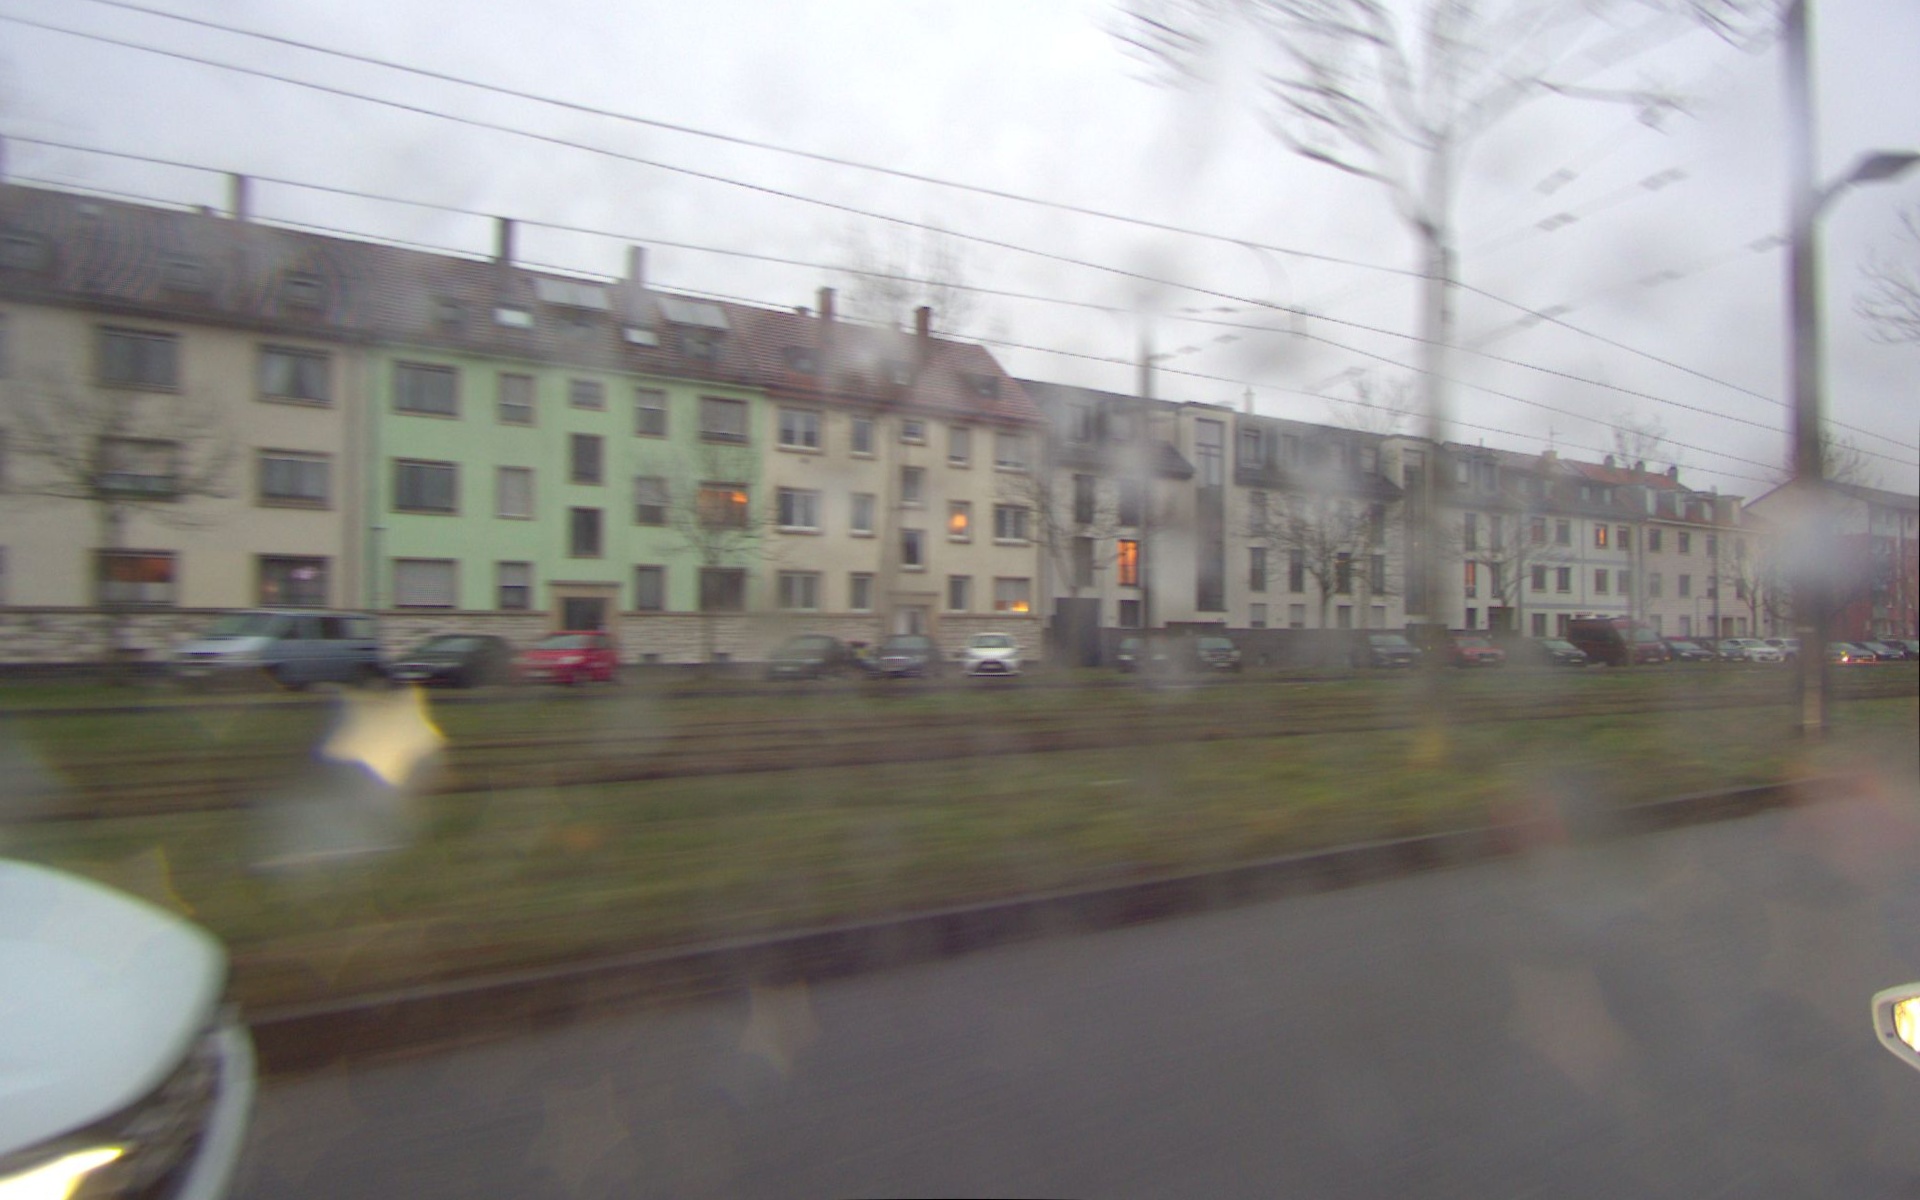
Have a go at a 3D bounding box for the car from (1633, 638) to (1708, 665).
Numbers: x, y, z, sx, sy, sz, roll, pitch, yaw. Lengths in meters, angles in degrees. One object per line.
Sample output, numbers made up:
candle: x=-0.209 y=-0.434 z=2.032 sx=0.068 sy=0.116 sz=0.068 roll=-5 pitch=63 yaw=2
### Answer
car: x=39.079 y=2.815 z=55.333 sx=1.713 sy=1.228 sz=3.541 roll=1 pitch=0 yaw=2

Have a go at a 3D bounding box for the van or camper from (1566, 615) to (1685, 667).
van or camper: x=34.256 y=2.042 z=52.038 sx=1.960 sy=2.391 sz=6.884 roll=1 pitch=0 yaw=4

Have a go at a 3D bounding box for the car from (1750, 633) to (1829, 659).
car: x=50.702 y=2.779 z=61.491 sx=1.737 sy=1.397 sz=4.126 roll=1 pitch=0 yaw=7

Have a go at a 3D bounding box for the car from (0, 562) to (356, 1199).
car: x=-2.871 y=0.668 z=0.844 sx=3.953 sy=1.494 sz=1.681 roll=1 pitch=0 yaw=-29

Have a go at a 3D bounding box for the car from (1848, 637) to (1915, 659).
car: x=62.638 y=3.232 z=68.356 sx=1.424 sy=1.355 sz=3.770 roll=0 pitch=-1 yaw=6

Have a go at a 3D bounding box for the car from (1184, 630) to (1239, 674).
car: x=9.199 y=1.876 z=36.950 sx=1.636 sy=1.441 sz=3.387 roll=1 pitch=0 yaw=9

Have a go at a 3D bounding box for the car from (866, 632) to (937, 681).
car: x=-1.694 y=1.652 z=30.072 sx=1.703 sy=1.188 sz=3.822 roll=1 pitch=0 yaw=3

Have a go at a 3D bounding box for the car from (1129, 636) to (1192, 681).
car: x=6.977 y=2.005 z=35.156 sx=1.703 sy=1.354 sz=2.937 roll=1 pitch=0 yaw=3

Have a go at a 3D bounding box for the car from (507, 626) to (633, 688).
car: x=-9.830 y=1.397 z=25.596 sx=1.653 sy=1.326 sz=3.581 roll=1 pitch=0 yaw=3

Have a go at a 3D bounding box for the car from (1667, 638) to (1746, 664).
car: x=41.884 y=2.852 z=56.433 sx=1.845 sy=1.216 sz=3.541 roll=1 pitch=0 yaw=2

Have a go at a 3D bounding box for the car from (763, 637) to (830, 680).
car: x=-4.613 y=1.652 z=28.646 sx=1.408 sy=1.062 sz=2.393 roll=0 pitch=0 yaw=3

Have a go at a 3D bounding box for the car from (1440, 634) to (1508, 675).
car: x=23.013 y=2.419 z=45.125 sx=1.707 sy=1.610 sz=3.851 roll=1 pitch=0 yaw=12

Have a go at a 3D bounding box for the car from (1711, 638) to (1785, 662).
car: x=45.326 y=2.858 z=57.878 sx=1.658 sy=1.162 sz=3.419 roll=1 pitch=0 yaw=2

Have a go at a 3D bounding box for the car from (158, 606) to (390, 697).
car: x=-15.265 y=1.059 z=22.727 sx=1.796 sy=1.746 sz=4.660 roll=1 pitch=0 yaw=4

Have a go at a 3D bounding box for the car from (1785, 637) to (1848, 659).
car: x=53.673 y=2.992 z=62.976 sx=1.369 sy=1.162 sz=3.045 roll=1 pitch=0 yaw=1

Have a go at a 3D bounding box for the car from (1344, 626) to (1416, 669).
car: x=17.384 y=1.941 z=41.778 sx=1.636 sy=1.561 sz=4.165 roll=1 pitch=0 yaw=6

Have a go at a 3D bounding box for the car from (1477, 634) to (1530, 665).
car: x=25.995 y=2.354 z=48.134 sx=1.360 sy=1.320 sz=3.099 roll=1 pitch=0 yaw=12

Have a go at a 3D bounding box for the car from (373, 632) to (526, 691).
car: x=-12.142 y=1.421 z=24.135 sx=1.702 sy=1.156 sz=3.573 roll=1 pitch=0 yaw=3

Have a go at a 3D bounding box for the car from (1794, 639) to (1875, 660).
car: x=56.110 y=3.150 z=64.540 sx=1.648 sy=1.131 sz=4.190 roll=1 pitch=0 yaw=1

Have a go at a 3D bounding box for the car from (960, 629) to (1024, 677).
car: x=1.068 y=1.605 z=31.464 sx=1.702 sy=1.262 sz=3.845 roll=1 pitch=0 yaw=6

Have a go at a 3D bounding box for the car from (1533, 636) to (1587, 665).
car: x=28.842 y=2.419 z=48.356 sx=1.360 sy=1.220 sz=2.890 roll=1 pitch=0 yaw=12
